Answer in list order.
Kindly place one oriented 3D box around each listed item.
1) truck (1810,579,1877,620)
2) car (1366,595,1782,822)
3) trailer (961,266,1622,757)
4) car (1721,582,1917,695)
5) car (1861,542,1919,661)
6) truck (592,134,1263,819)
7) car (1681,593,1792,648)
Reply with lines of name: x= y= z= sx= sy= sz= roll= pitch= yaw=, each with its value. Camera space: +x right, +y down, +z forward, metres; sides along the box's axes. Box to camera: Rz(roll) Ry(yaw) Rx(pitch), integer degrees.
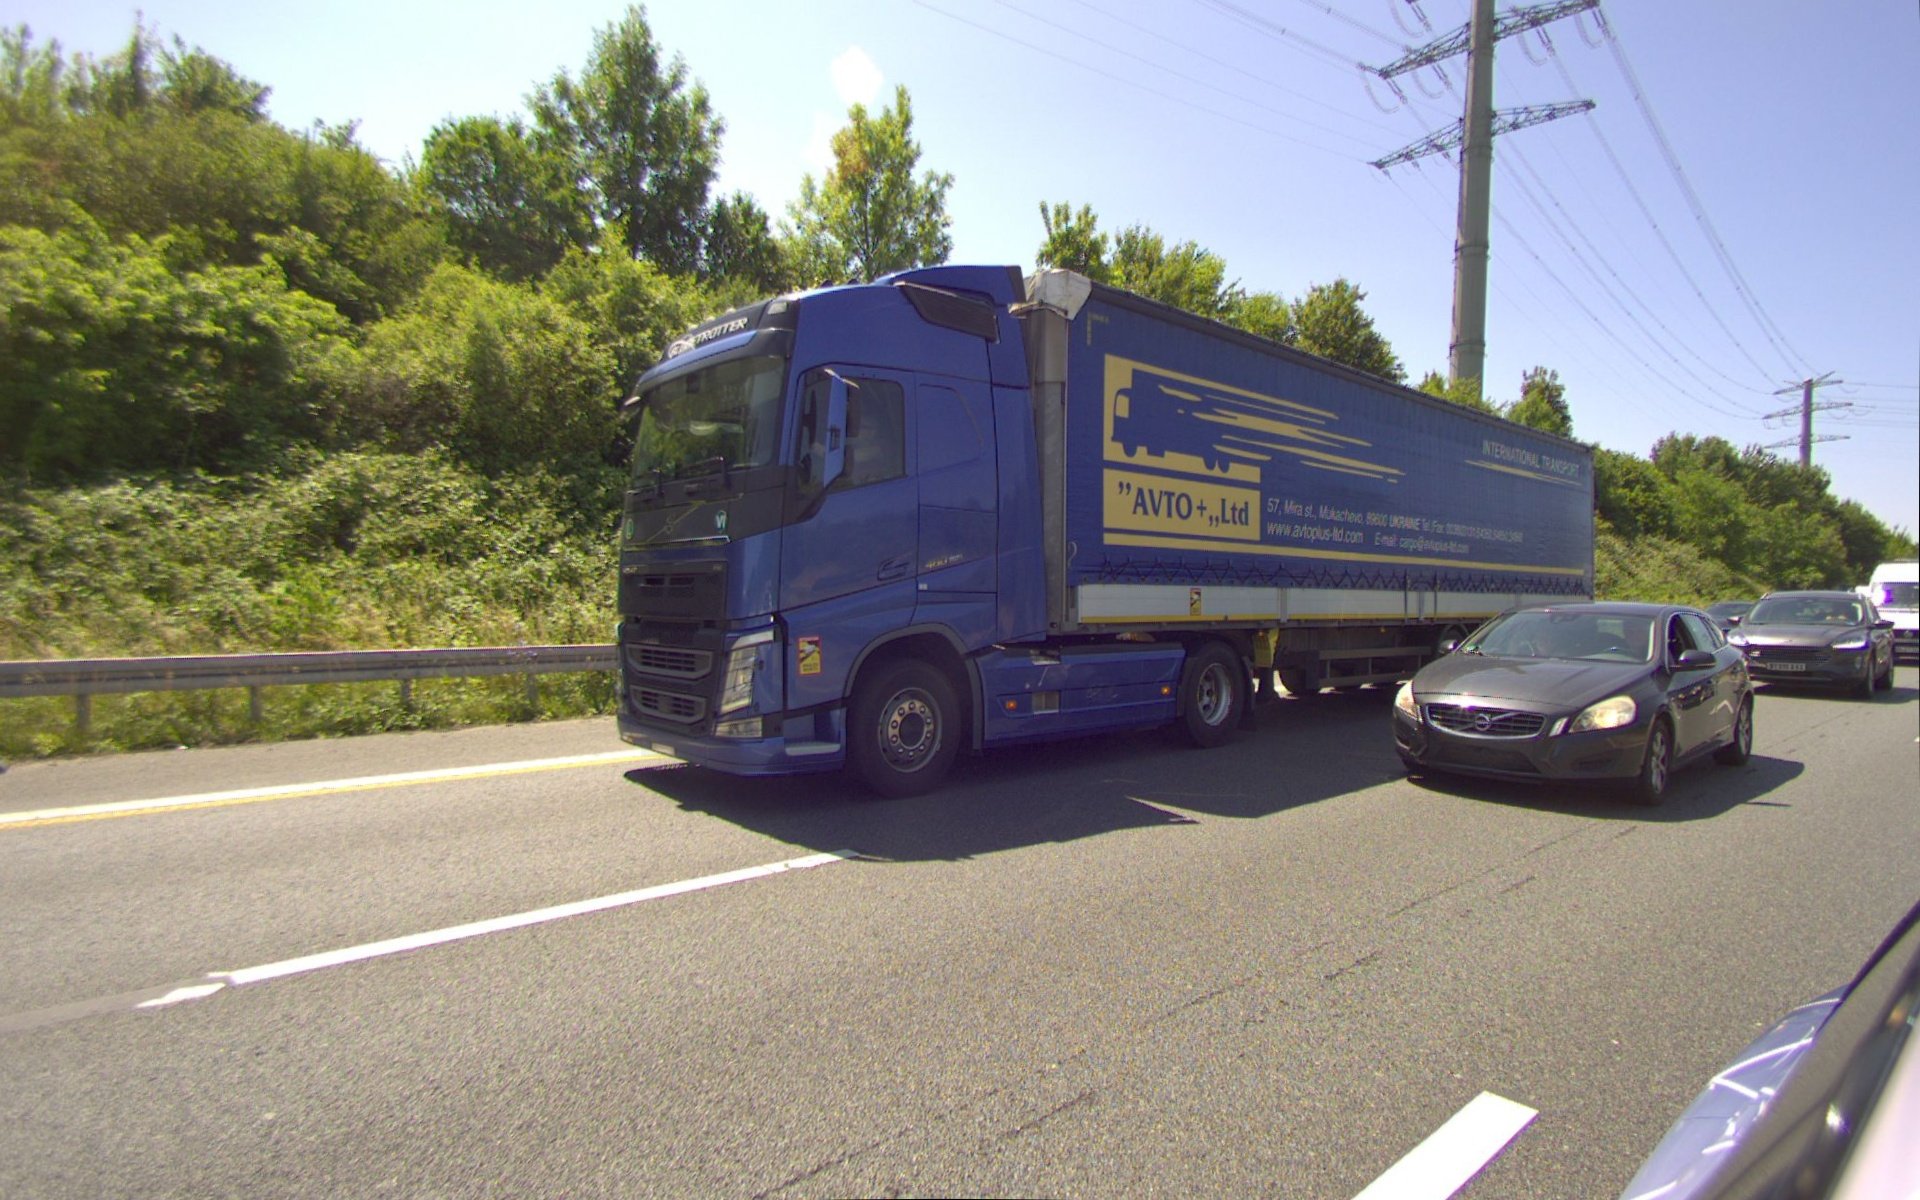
truck: x=49.298 y=-0.043 z=56.443 sx=5.632 sy=2.195 sz=2.250 roll=0 pitch=0 yaw=-43
car: x=5.387 y=0.684 z=8.612 sx=4.432 sy=1.437 sz=1.798 roll=0 pitch=0 yaw=-41
trailer: x=5.652 y=-0.817 z=14.132 sx=12.655 sy=4.317 sz=2.771 roll=0 pitch=0 yaw=-42
car: x=14.254 y=0.541 z=16.715 sx=4.147 sy=1.631 sz=1.891 roll=0 pitch=0 yaw=-41
car: x=24.561 y=0.020 z=25.469 sx=6.590 sy=2.753 sz=2.040 roll=0 pitch=0 yaw=-42
truck: x=-0.041 y=-0.780 z=9.087 sx=5.538 sy=4.197 sz=2.790 roll=0 pitch=0 yaw=-41
car: x=23.475 y=0.570 z=30.534 sx=4.770 sy=1.531 sz=1.794 roll=0 pitch=0 yaw=-41
